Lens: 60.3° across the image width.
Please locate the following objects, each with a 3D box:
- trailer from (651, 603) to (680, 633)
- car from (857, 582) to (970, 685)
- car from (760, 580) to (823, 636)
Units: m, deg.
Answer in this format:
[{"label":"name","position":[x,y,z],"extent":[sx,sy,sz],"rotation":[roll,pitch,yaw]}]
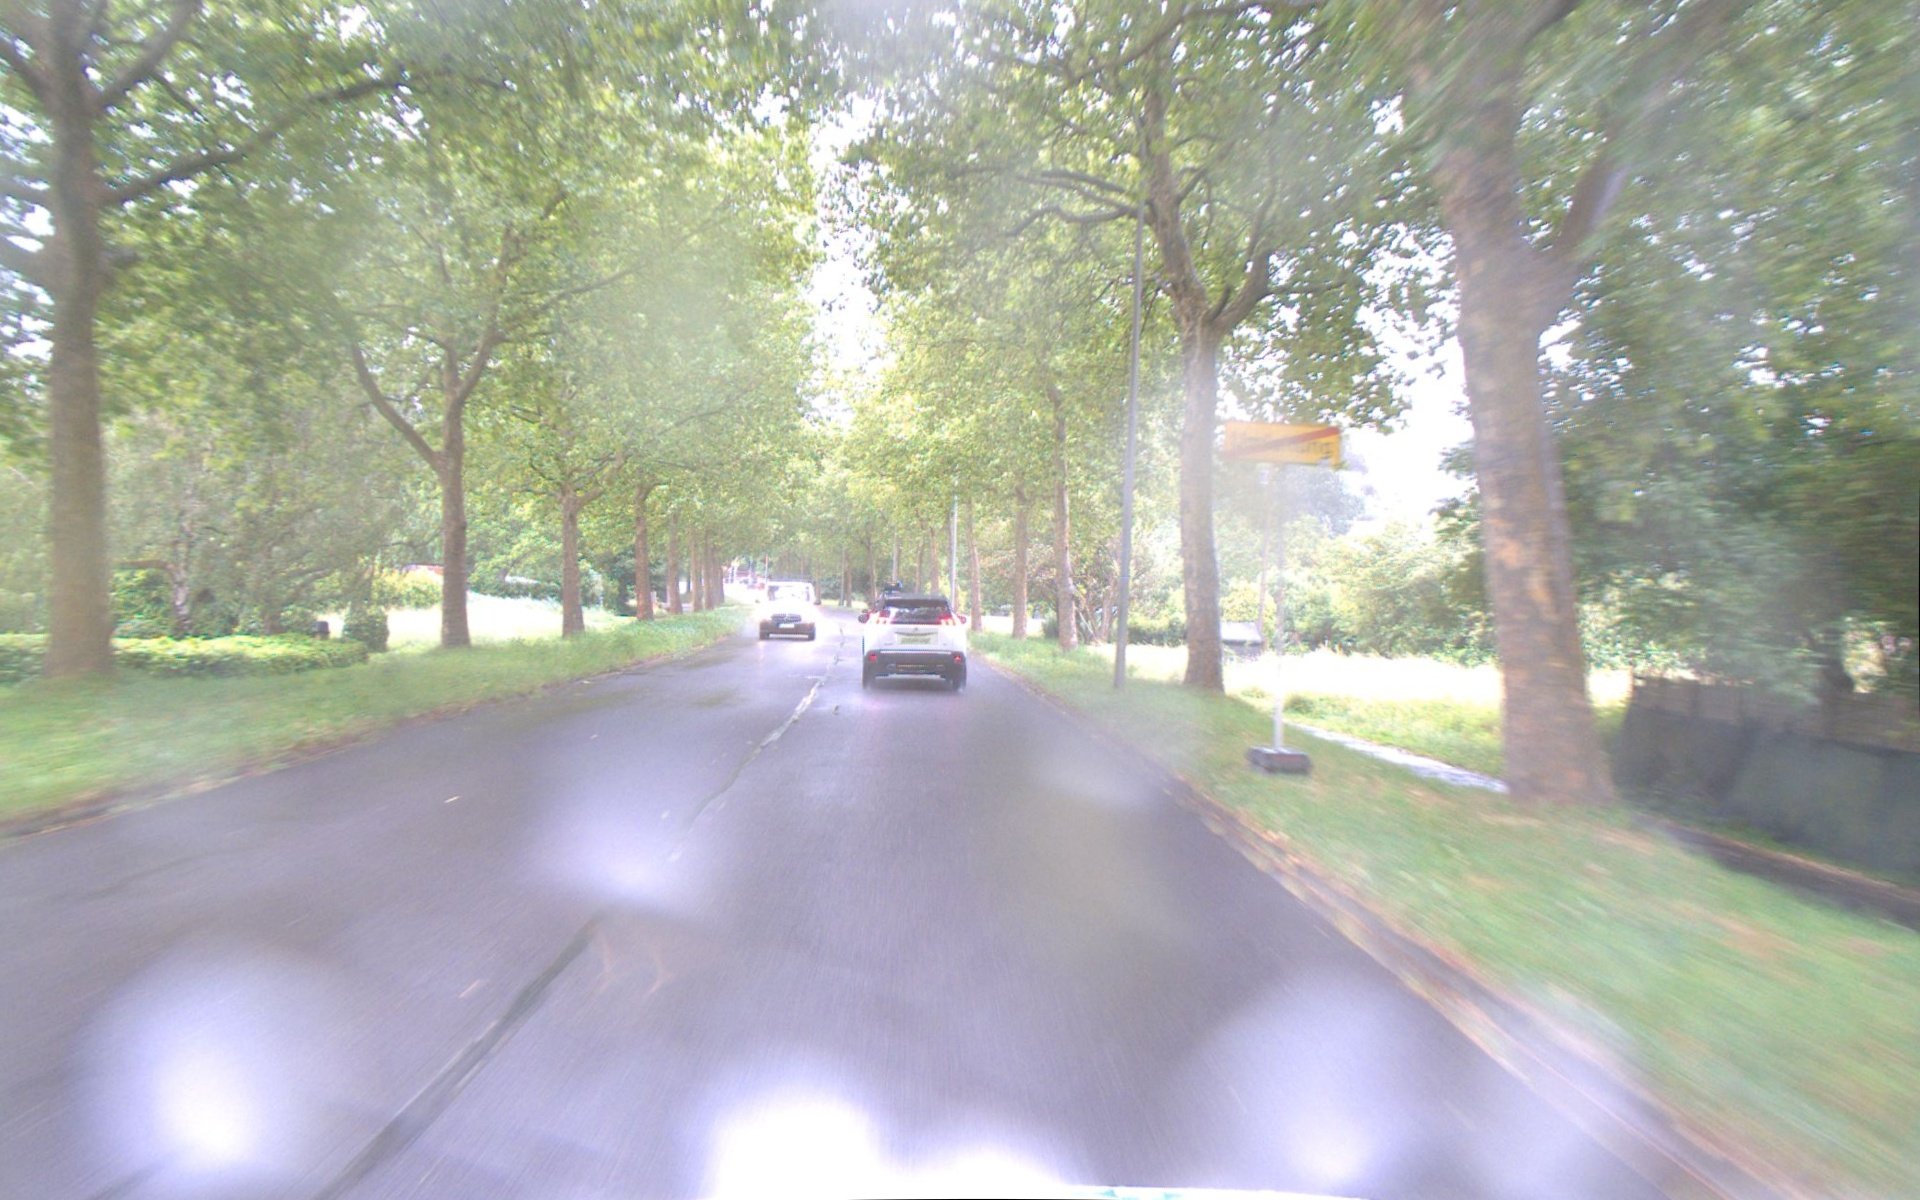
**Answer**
[{"label":"trailer","position":[-28.250,1.699,158.760],"extent":[2.439,2.612,5.322],"rotation":[2,0,-9]},{"label":"car","position":[-0.734,0.523,28.641],"extent":[1.757,1.606,3.844],"rotation":[2,0,0]},{"label":"car","position":[-5.695,0.254,56.358],"extent":[1.826,1.780,5.012],"rotation":[2,0,-3]}]
